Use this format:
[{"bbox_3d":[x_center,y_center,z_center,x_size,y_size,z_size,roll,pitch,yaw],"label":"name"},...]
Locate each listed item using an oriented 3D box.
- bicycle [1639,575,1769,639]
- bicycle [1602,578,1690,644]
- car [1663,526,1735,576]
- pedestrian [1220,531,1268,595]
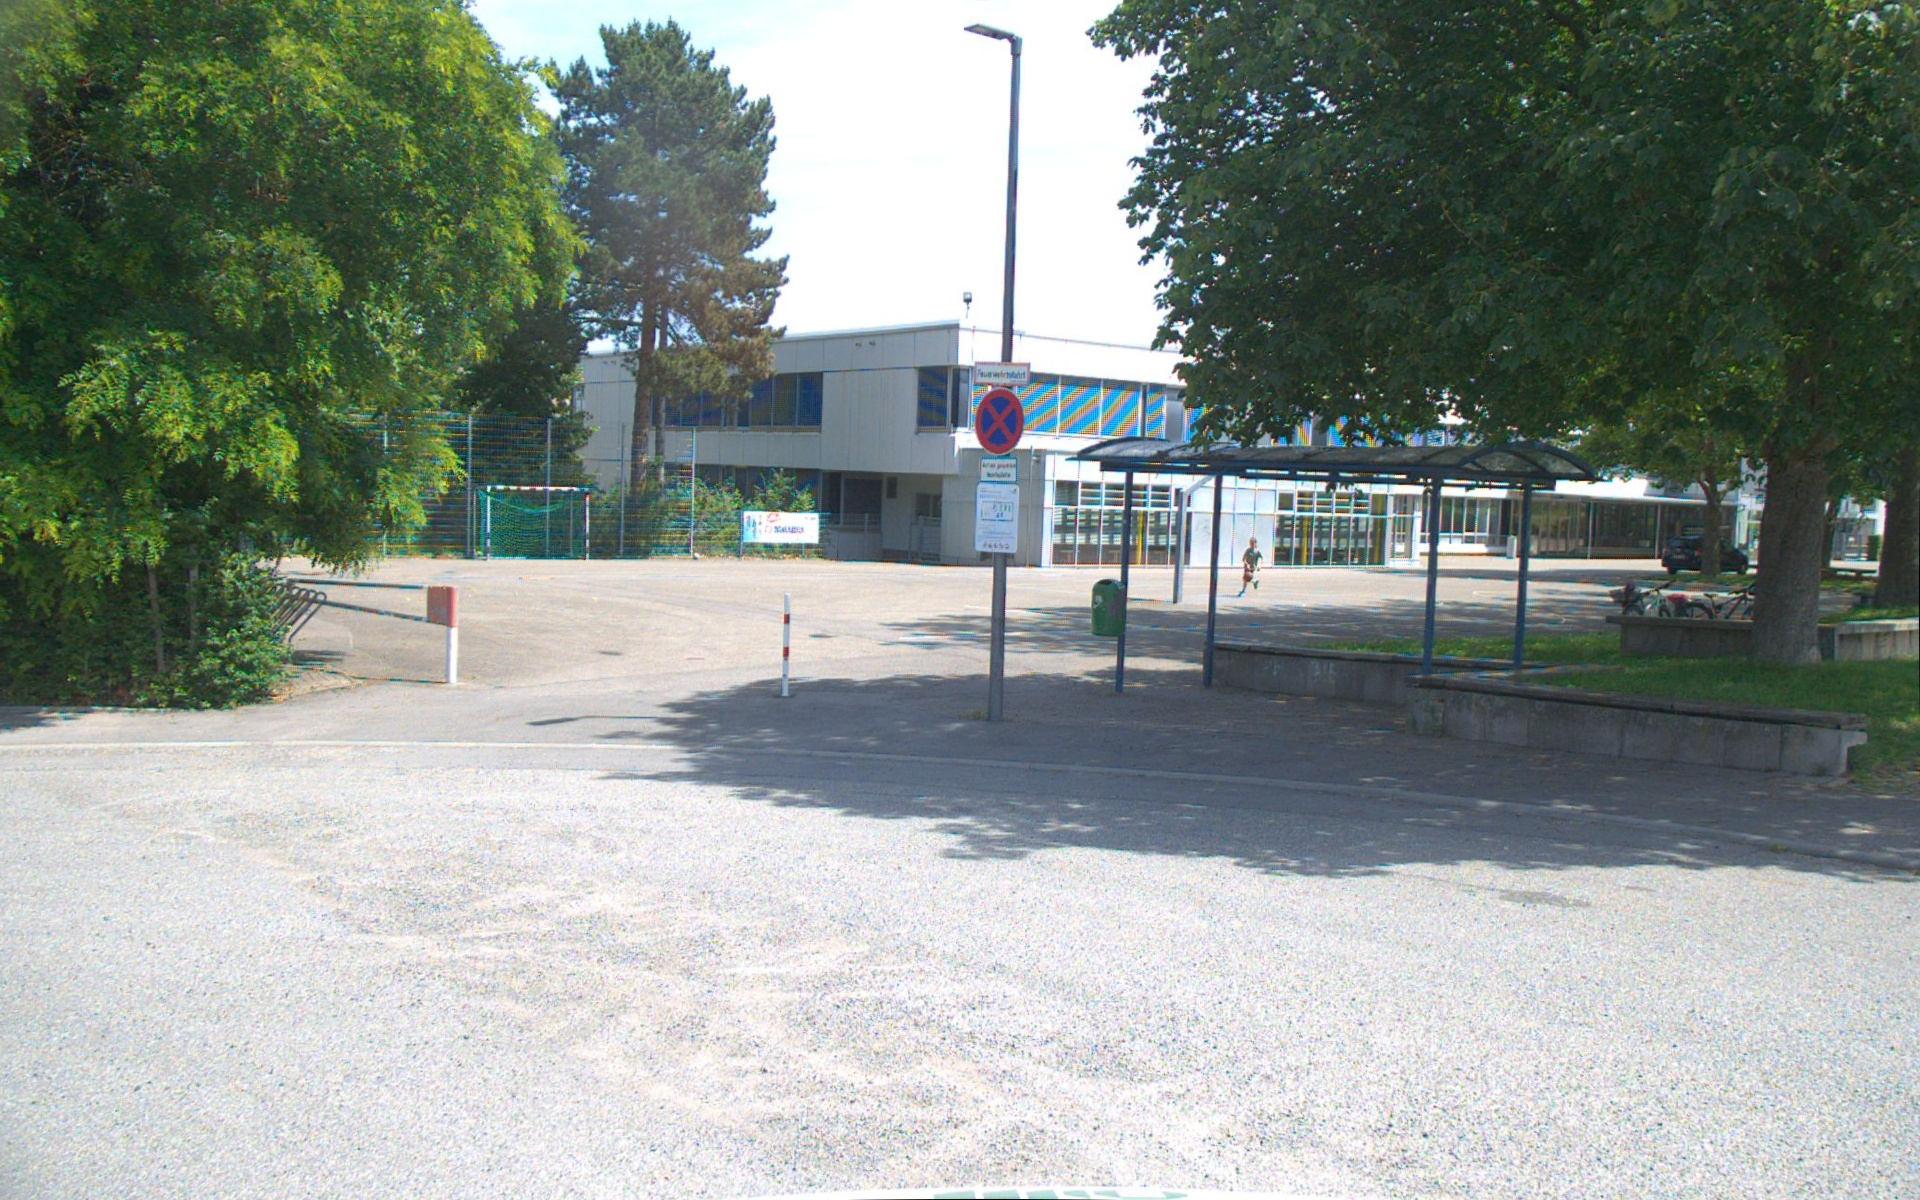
[{"bbox_3d":[13.208,0.111,29.381,2.027,1.057,0.570,2,2,35],"label":"bicycle"},{"bbox_3d":[11.654,0.174,28.080,1.875,1.057,0.588,-1,2,-40],"label":"bicycle"},{"bbox_3d":[28.966,-1.907,64.802,1.666,1.866,3.393,3,3,40],"label":"car"},{"bbox_3d":[6.659,-0.875,38.765,0.897,1.448,1.070,3,2,18],"label":"pedestrian"}]
